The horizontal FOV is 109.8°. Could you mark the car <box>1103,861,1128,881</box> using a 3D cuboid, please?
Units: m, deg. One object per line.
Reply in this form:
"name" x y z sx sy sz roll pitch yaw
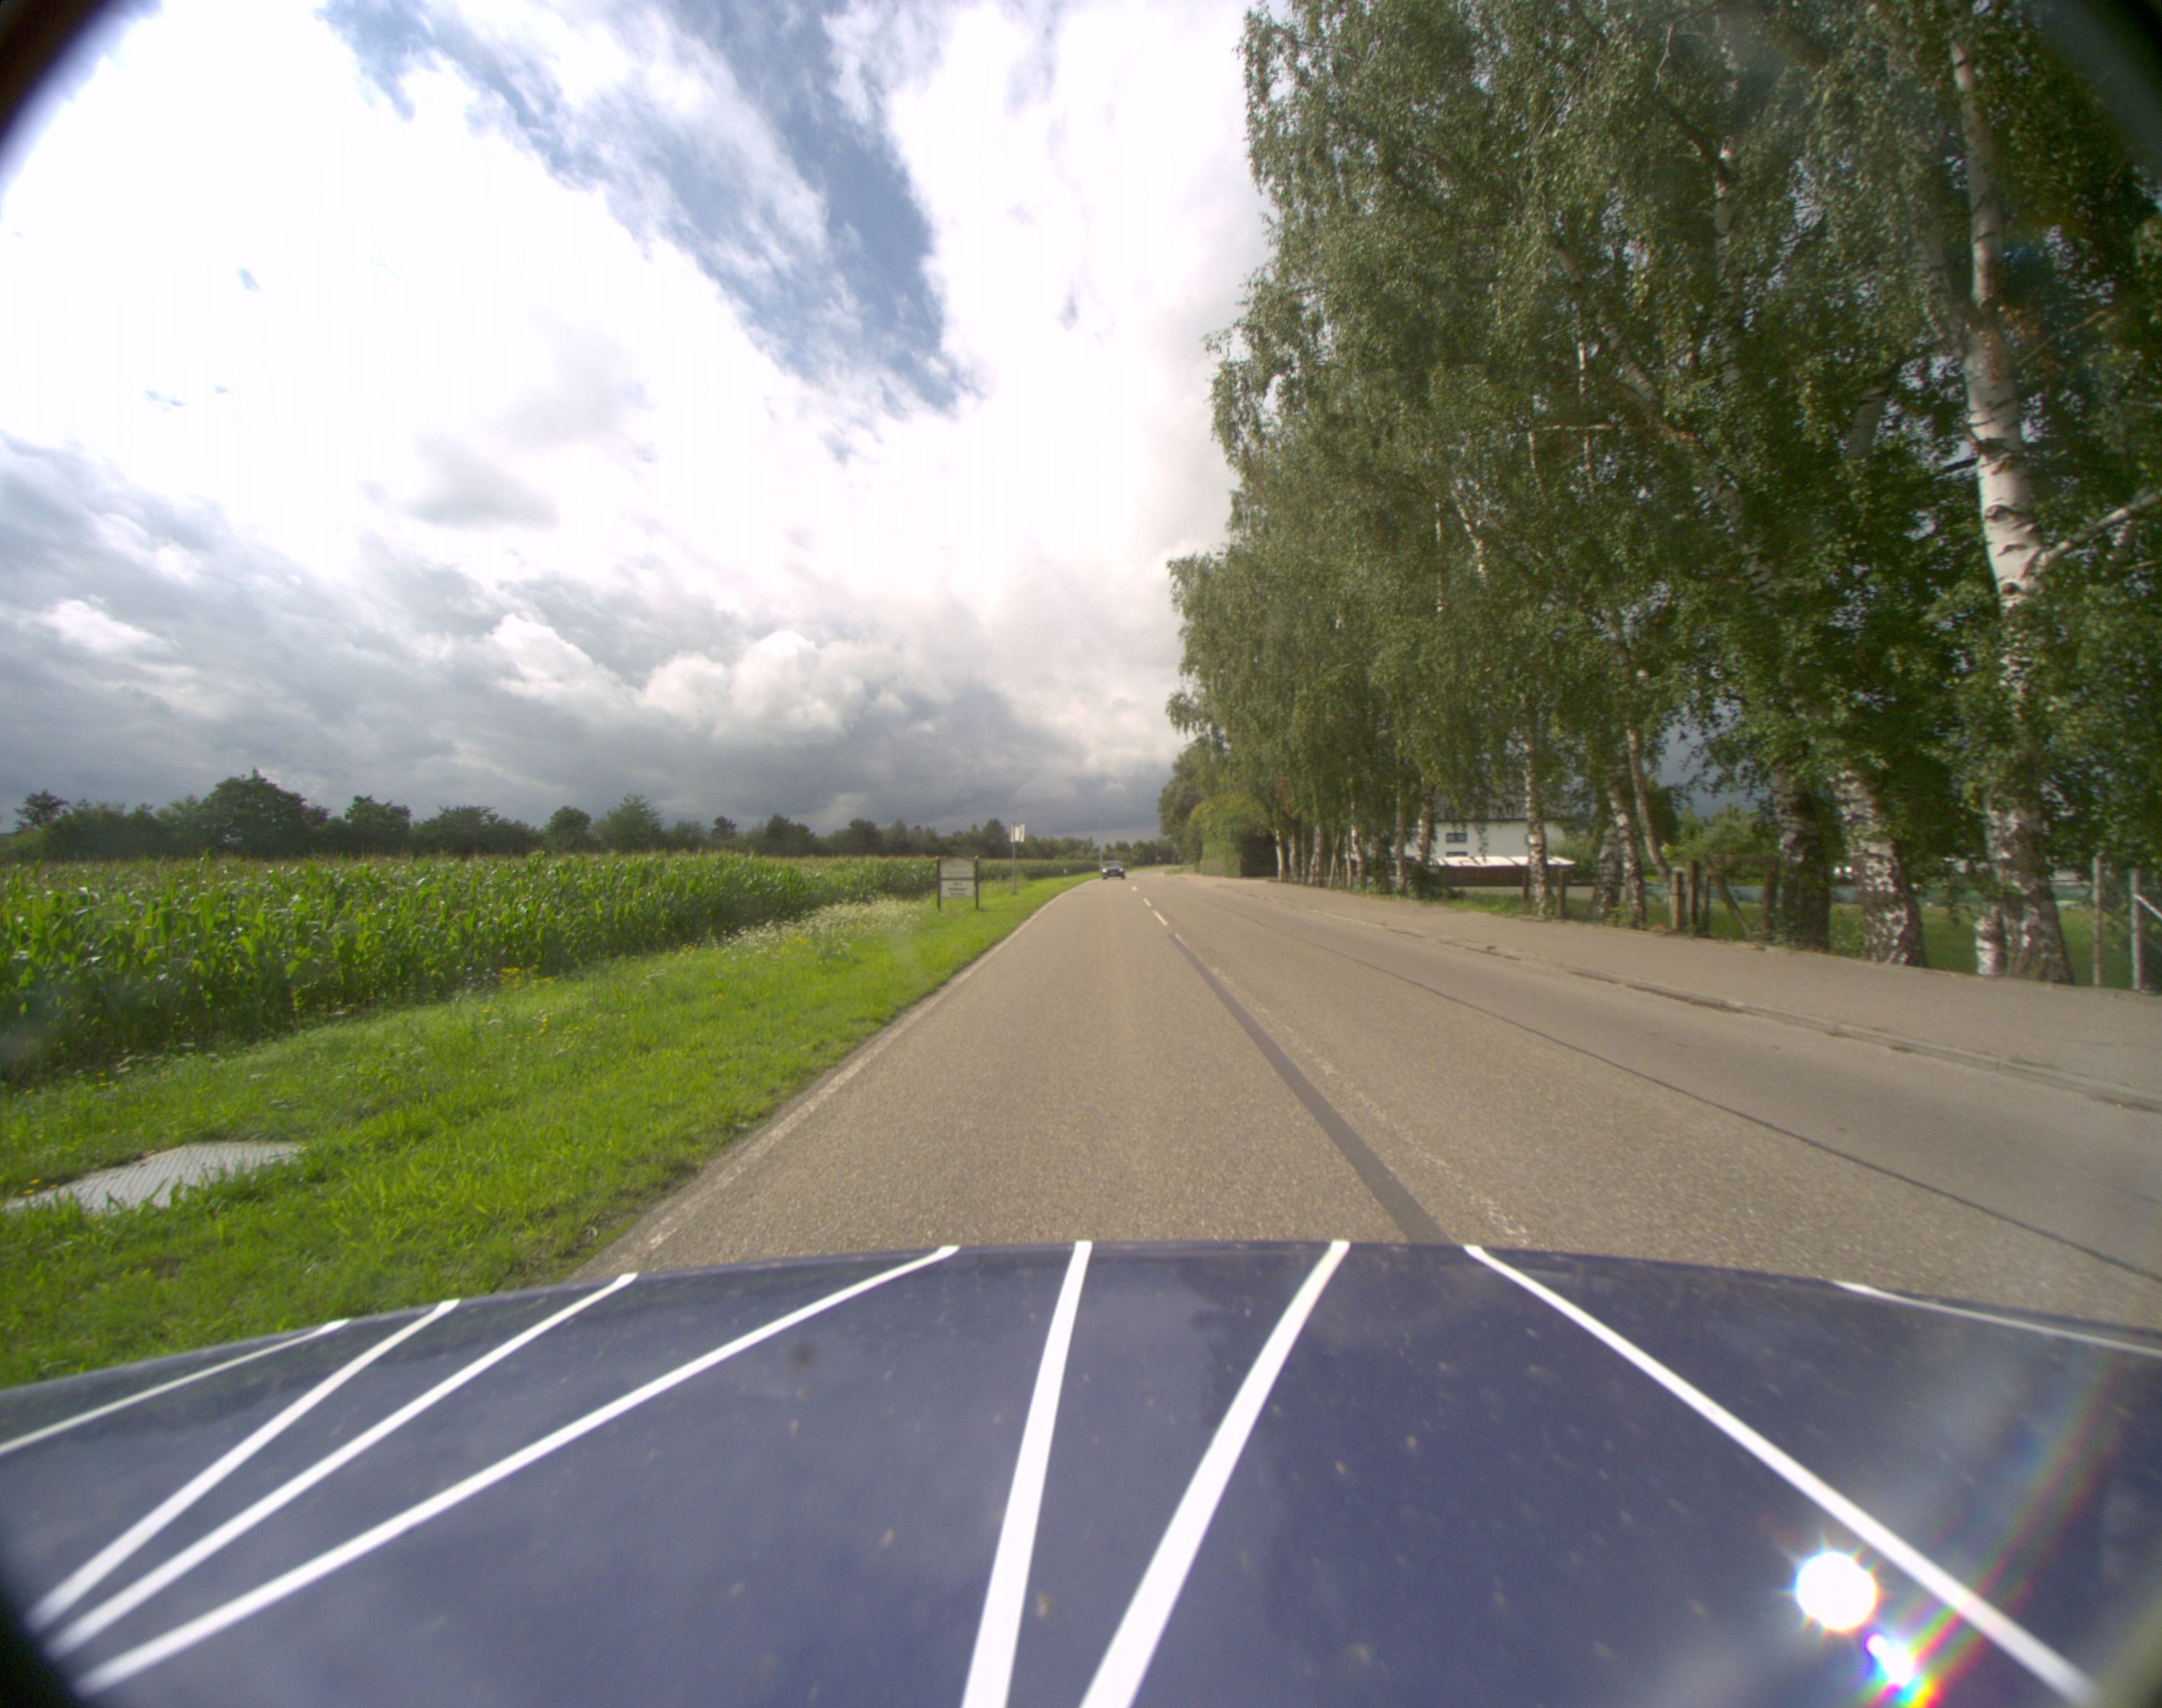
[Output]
"car" 3.012 1.448 66.213 1.998 1.594 4.002 -1 -1 5
